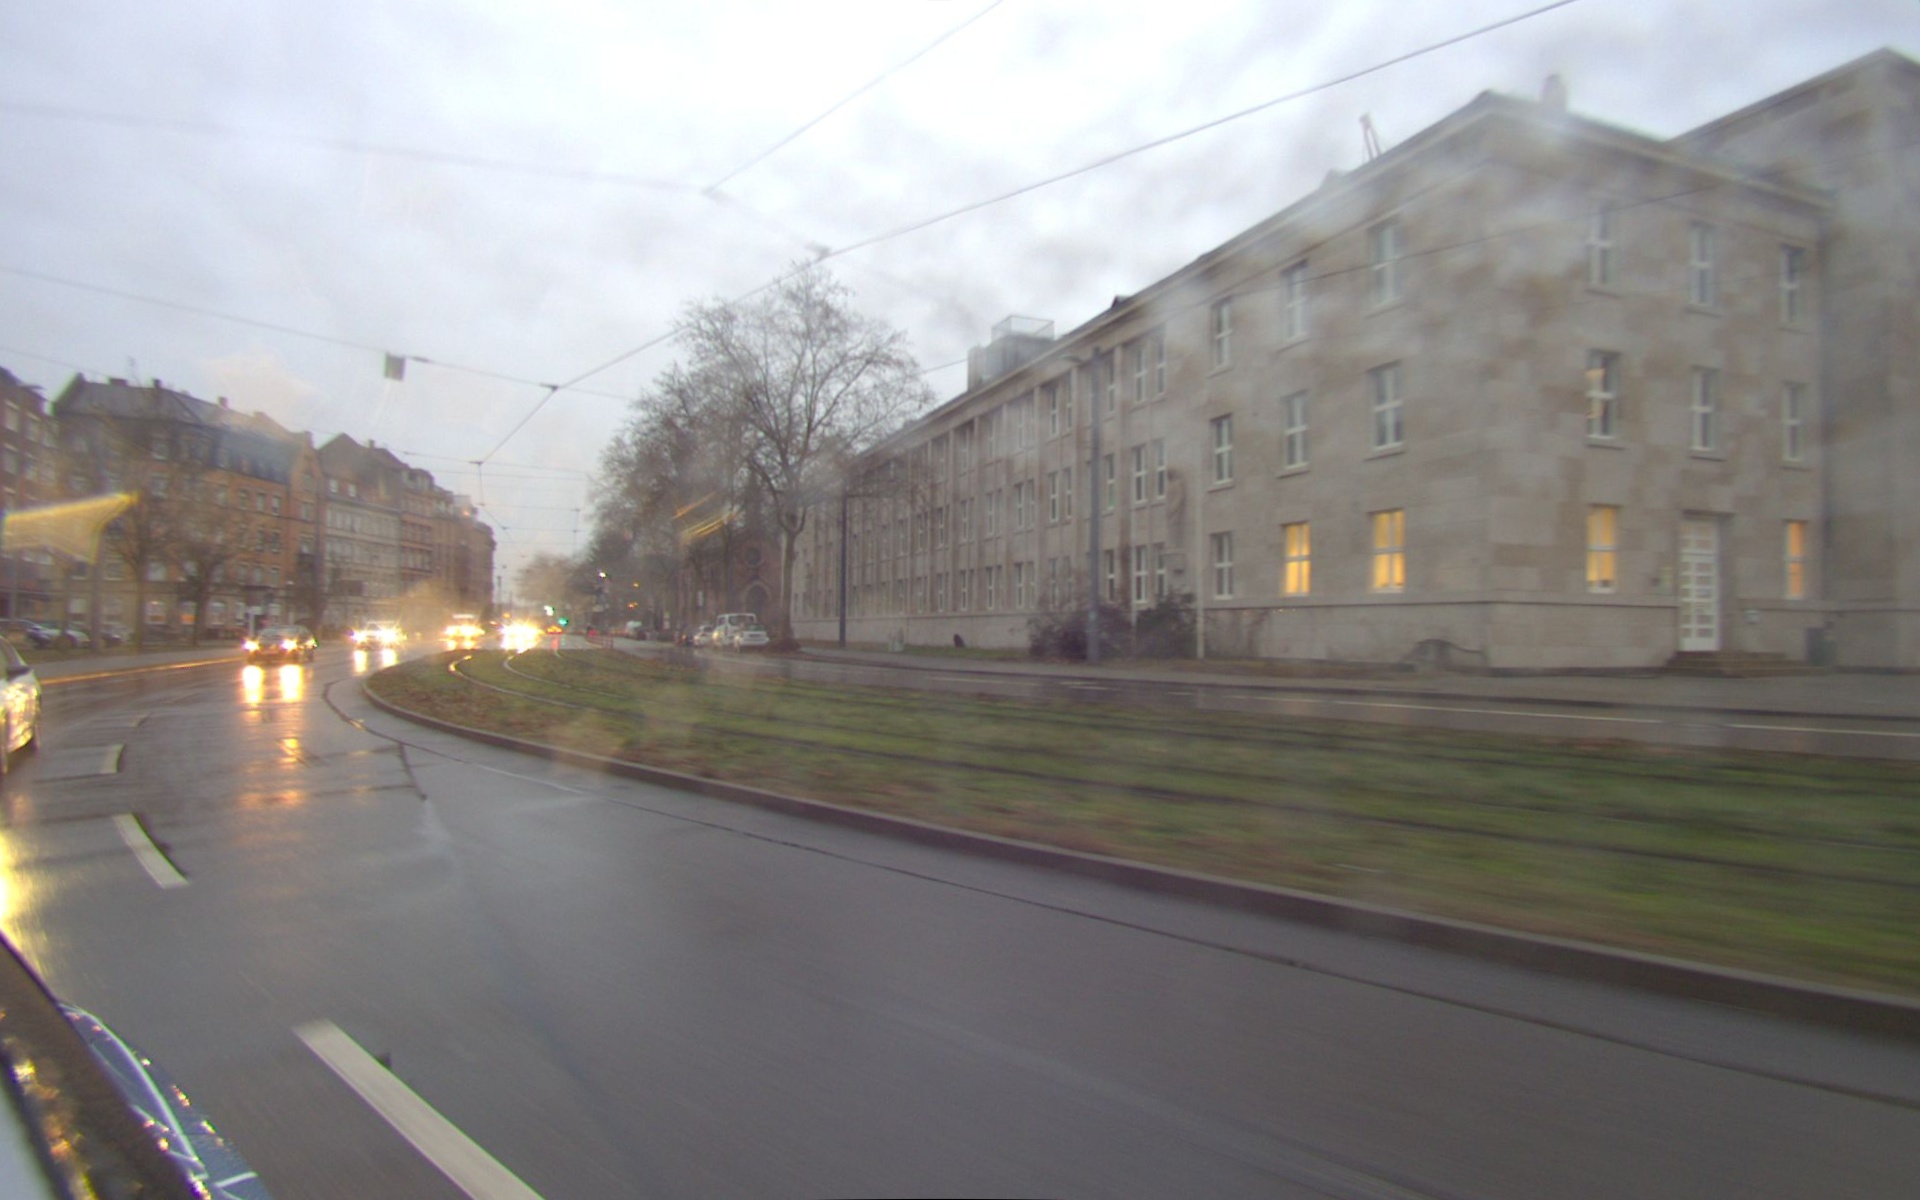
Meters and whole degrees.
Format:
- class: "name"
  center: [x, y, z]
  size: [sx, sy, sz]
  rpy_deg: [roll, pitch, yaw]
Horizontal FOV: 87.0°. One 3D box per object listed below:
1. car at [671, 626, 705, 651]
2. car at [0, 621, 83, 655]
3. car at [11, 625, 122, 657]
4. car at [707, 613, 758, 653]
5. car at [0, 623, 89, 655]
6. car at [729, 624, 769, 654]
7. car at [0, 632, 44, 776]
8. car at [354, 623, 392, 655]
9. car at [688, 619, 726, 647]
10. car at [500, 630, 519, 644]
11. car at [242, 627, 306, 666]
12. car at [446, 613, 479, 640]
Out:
- class: "car"
  center: [-19.194, 2.713, 71.281]
  size: [1.588, 1.673, 3.622]
  rpy_deg: [1, -2, -26]
- class: "car"
  center: [-40.439, 1.637, 43.759]
  size: [1.602, 1.364, 3.712]
  rpy_deg: [-2, -1, 44]
- class: "car"
  center: [-41.052, 1.855, 46.555]
  size: [1.602, 1.364, 3.712]
  rpy_deg: [-2, -1, 44]
- class: "car"
  center: [-12.616, 1.778, 55.956]
  size: [1.965, 2.029, 4.524]
  rpy_deg: [-1, 0, -23]
- class: "car"
  center: [-38.131, 1.596, 41.242]
  size: [1.599, 1.288, 3.719]
  rpy_deg: [-2, -3, 37]
- class: "car"
  center: [-10.804, 1.990, 51.755]
  size: [1.534, 1.439, 2.964]
  rpy_deg: [1, -1, -21]
- class: "car"
  center: [-10.615, 1.068, 10.095]
  size: [1.688, 1.423, 3.689]
  rpy_deg: [-1, -1, -34]
- class: "car"
  center: [-33.110, 2.181, 57.157]
  size: [1.646, 1.672, 4.161]
  rpy_deg: [-1, 0, -27]
- class: "car"
  center: [-16.389, 2.103, 65.375]
  size: [1.796, 1.667, 3.872]
  rpy_deg: [-1, 0, -23]
- class: "car"
  center: [-57.569, 4.785, 129.433]
  size: [1.623, 1.763, 3.564]
  rpy_deg: [1, -2, -15]
- class: "car"
  center: [-26.086, 1.763, 38.571]
  size: [1.563, 1.437, 3.144]
  rpy_deg: [1, -2, -26]
- class: "car"
  center: [-46.605, 2.436, 94.861]
  size: [2.094, 2.398, 5.656]
  rpy_deg: [-1, -1, -19]
